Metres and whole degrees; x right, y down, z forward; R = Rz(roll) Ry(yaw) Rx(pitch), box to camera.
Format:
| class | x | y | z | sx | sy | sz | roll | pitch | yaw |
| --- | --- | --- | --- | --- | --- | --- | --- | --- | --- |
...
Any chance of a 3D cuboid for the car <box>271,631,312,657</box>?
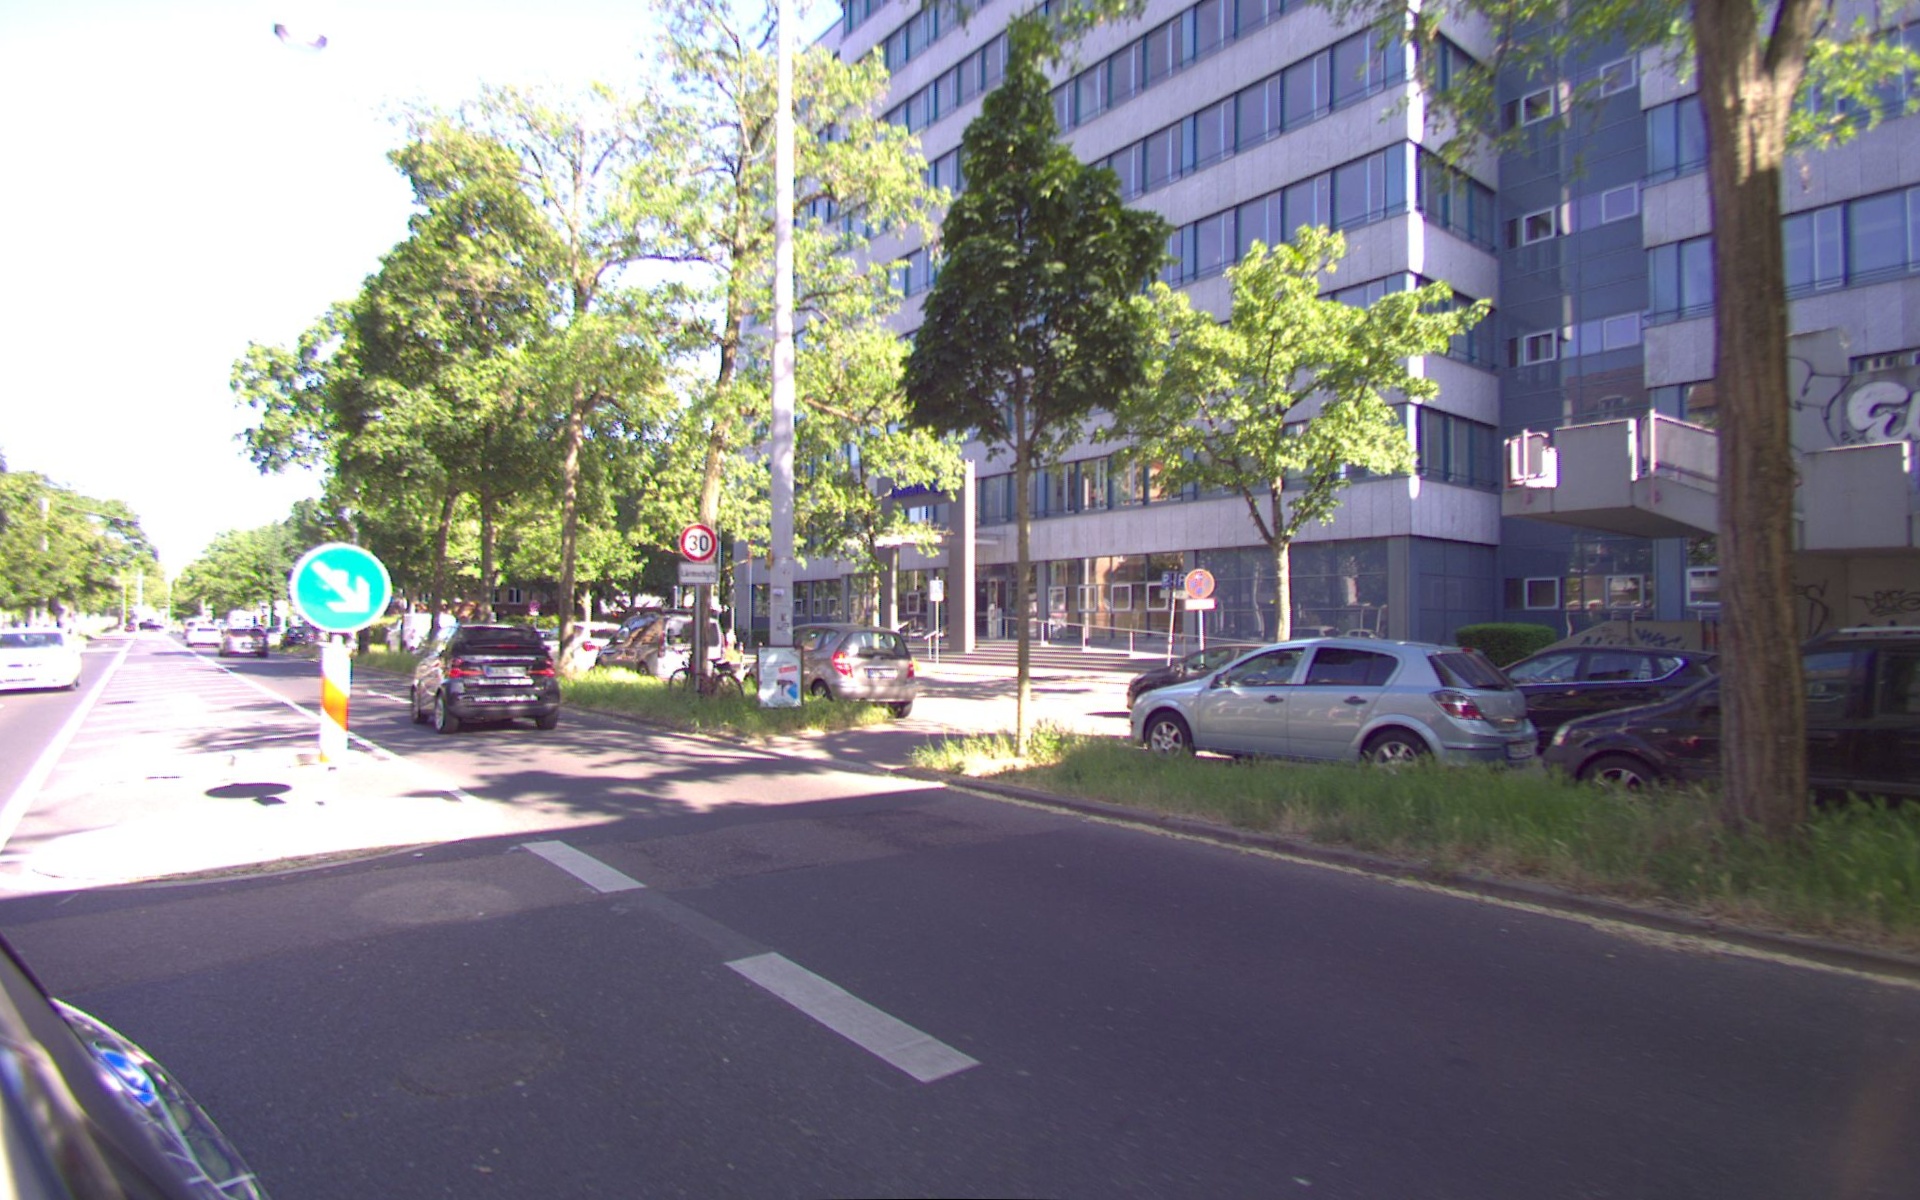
| class | x | y | z | sx | sy | sz | roll | pitch | yaw |
| --- | --- | --- | --- | --- | --- | --- | --- | --- | --- |
| car | -39.654 | 2.567 | 60.000 | 1.714 | 1.501 | 4.008 | 1 | -2 | -38 |

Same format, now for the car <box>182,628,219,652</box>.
| class | x | y | z | sx | sy | sz | roll | pitch | yaw |
| --- | --- | --- | --- | --- | --- | --- | --- | --- | --- |
| car | -52.030 | 2.688 | 69.299 | 1.765 | 1.596 | 4.195 | 1 | -2 | -40 |

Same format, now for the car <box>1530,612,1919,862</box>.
| class | x | y | z | sx | sy | sz | roll | pitch | yaw |
| --- | --- | --- | --- | --- | --- | --- | --- | --- | --- |
| car | 6.392 | 0.912 | 7.139 | 1.718 | 1.550 | 3.786 | 5 | -4 | -39 |

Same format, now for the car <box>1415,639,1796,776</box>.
| class | x | y | z | sx | sy | sz | roll | pitch | yaw |
| --- | --- | --- | --- | --- | --- | --- | --- | --- | --- |
| car | 8.545 | 1.312 | 13.698 | 1.710 | 1.542 | 4.007 | 2 | -3 | -39 |

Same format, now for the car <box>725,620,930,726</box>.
| class | x | y | z | sx | sy | sz | roll | pitch | yaw |
| --- | --- | --- | --- | --- | --- | --- | --- | --- | --- |
| car | -2.458 | 1.213 | 18.020 | 1.750 | 1.659 | 4.091 | 2 | -2 | -39 |

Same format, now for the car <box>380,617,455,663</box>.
| class | x | y | z | sx | sy | sz | roll | pitch | yaw |
| --- | --- | --- | --- | --- | --- | --- | --- | --- | --- |
| car | -24.221 | 1.744 | 45.104 | 2.039 | 1.923 | 4.533 | 1 | -2 | -40 |

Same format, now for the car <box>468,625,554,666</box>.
| class | x | y | z | sx | sy | sz | roll | pitch | yaw |
| --- | --- | --- | --- | --- | --- | --- | --- | --- | --- |
| car | -14.381 | 1.426 | 32.319 | 1.630 | 1.236 | 3.855 | 1 | -2 | -38 |

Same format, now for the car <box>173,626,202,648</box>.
| class | x | y | z | sx | sy | sz | roll | pitch | yaw |
| --- | --- | --- | --- | --- | --- | --- | --- | --- | --- |
| car | -72.762 | 3.426 | 95.350 | 2.136 | 2.029 | 4.420 | 1 | -2 | -37 |

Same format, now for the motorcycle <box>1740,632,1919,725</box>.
| class | x | y | z | sx | sy | sz | roll | pitch | yaw |
| --- | --- | --- | --- | --- | --- | --- | --- | --- | --- |
| motorcycle | 13.056 | 1.130 | 15.156 | 0.720 | 1.280 | 2.057 | 2 | -2 | -40 |

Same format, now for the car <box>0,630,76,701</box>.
| class | x | y | z | sx | sy | sz | roll | pitch | yaw |
| --- | --- | --- | --- | --- | --- | --- | --- | --- | --- |
| car | -21.921 | 1.471 | 23.759 | 1.638 | 1.542 | 4.106 | 1 | -2 | -40 |

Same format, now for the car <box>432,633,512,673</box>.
| class | x | y | z | sx | sy | sz | roll | pitch | yaw |
| --- | --- | --- | --- | --- | --- | --- | --- | --- | --- |
| car | -17.752 | 1.890 | 36.733 | 1.632 | 1.355 | 3.975 | 1 | -2 | -40 |

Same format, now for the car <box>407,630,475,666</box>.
| class | x | y | z | sx | sy | sz | roll | pitch | yaw |
| --- | --- | --- | --- | --- | --- | --- | --- | --- | --- |
| car | -21.073 | 1.908 | 41.018 | 1.654 | 1.343 | 4.196 | 1 | -2 | -39 |

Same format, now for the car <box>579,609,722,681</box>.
| class | x | y | z | sx | sy | sz | roll | pitch | yaw |
| --- | --- | --- | --- | --- | --- | --- | --- | --- | --- |
| car | -7.463 | 1.033 | 24.136 | 1.708 | 1.561 | 4.456 | 1 | -2 | -39 |

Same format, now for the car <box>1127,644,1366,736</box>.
| class | x | y | z | sx | sy | sz | roll | pitch | yaw |
| --- | --- | --- | --- | --- | --- | --- | --- | --- | --- |
| car | 4.983 | 1.509 | 17.969 | 1.660 | 1.414 | 3.806 | 2 | -3 | -42 |

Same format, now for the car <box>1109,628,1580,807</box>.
| class | x | y | z | sx | sy | sz | roll | pitch | yaw |
| --- | --- | --- | --- | --- | --- | --- | --- | --- | --- |
| car | 3.727 | 1.076 | 10.452 | 1.632 | 1.459 | 4.289 | 6 | -5 | -40 |

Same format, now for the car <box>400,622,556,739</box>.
| class | x | y | z | sx | sy | sz | roll | pitch | yaw |
| --- | --- | --- | --- | --- | --- | --- | --- | --- | --- |
| car | -7.119 | 1.110 | 14.842 | 1.448 | 1.539 | 2.822 | 2 | -3 | -38 |

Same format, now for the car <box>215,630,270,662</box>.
| class | x | y | z | sx | sy | sz | roll | pitch | yaw |
| --- | --- | --- | --- | --- | --- | --- | --- | --- | --- |
| car | -33.859 | 2.171 | 47.708 | 1.765 | 1.433 | 4.196 | 3 | -3 | -39 |

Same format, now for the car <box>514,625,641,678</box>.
| class | x | y | z | sx | sy | sz | roll | pitch | yaw |
| --- | --- | --- | --- | --- | --- | --- | --- | --- | --- |
| car | -11.014 | 1.426 | 28.961 | 4.495 | 1.394 | 1.696 | -2 | -2 | 45 |

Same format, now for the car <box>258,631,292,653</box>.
| class | x | y | z | sx | sy | sz | roll | pitch | yaw |
| --- | --- | --- | --- | --- | --- | --- | --- | --- | --- |
| car | -46.707 | 2.841 | 68.960 | 1.581 | 1.425 | 4.008 | 1 | -2 | -38 |
